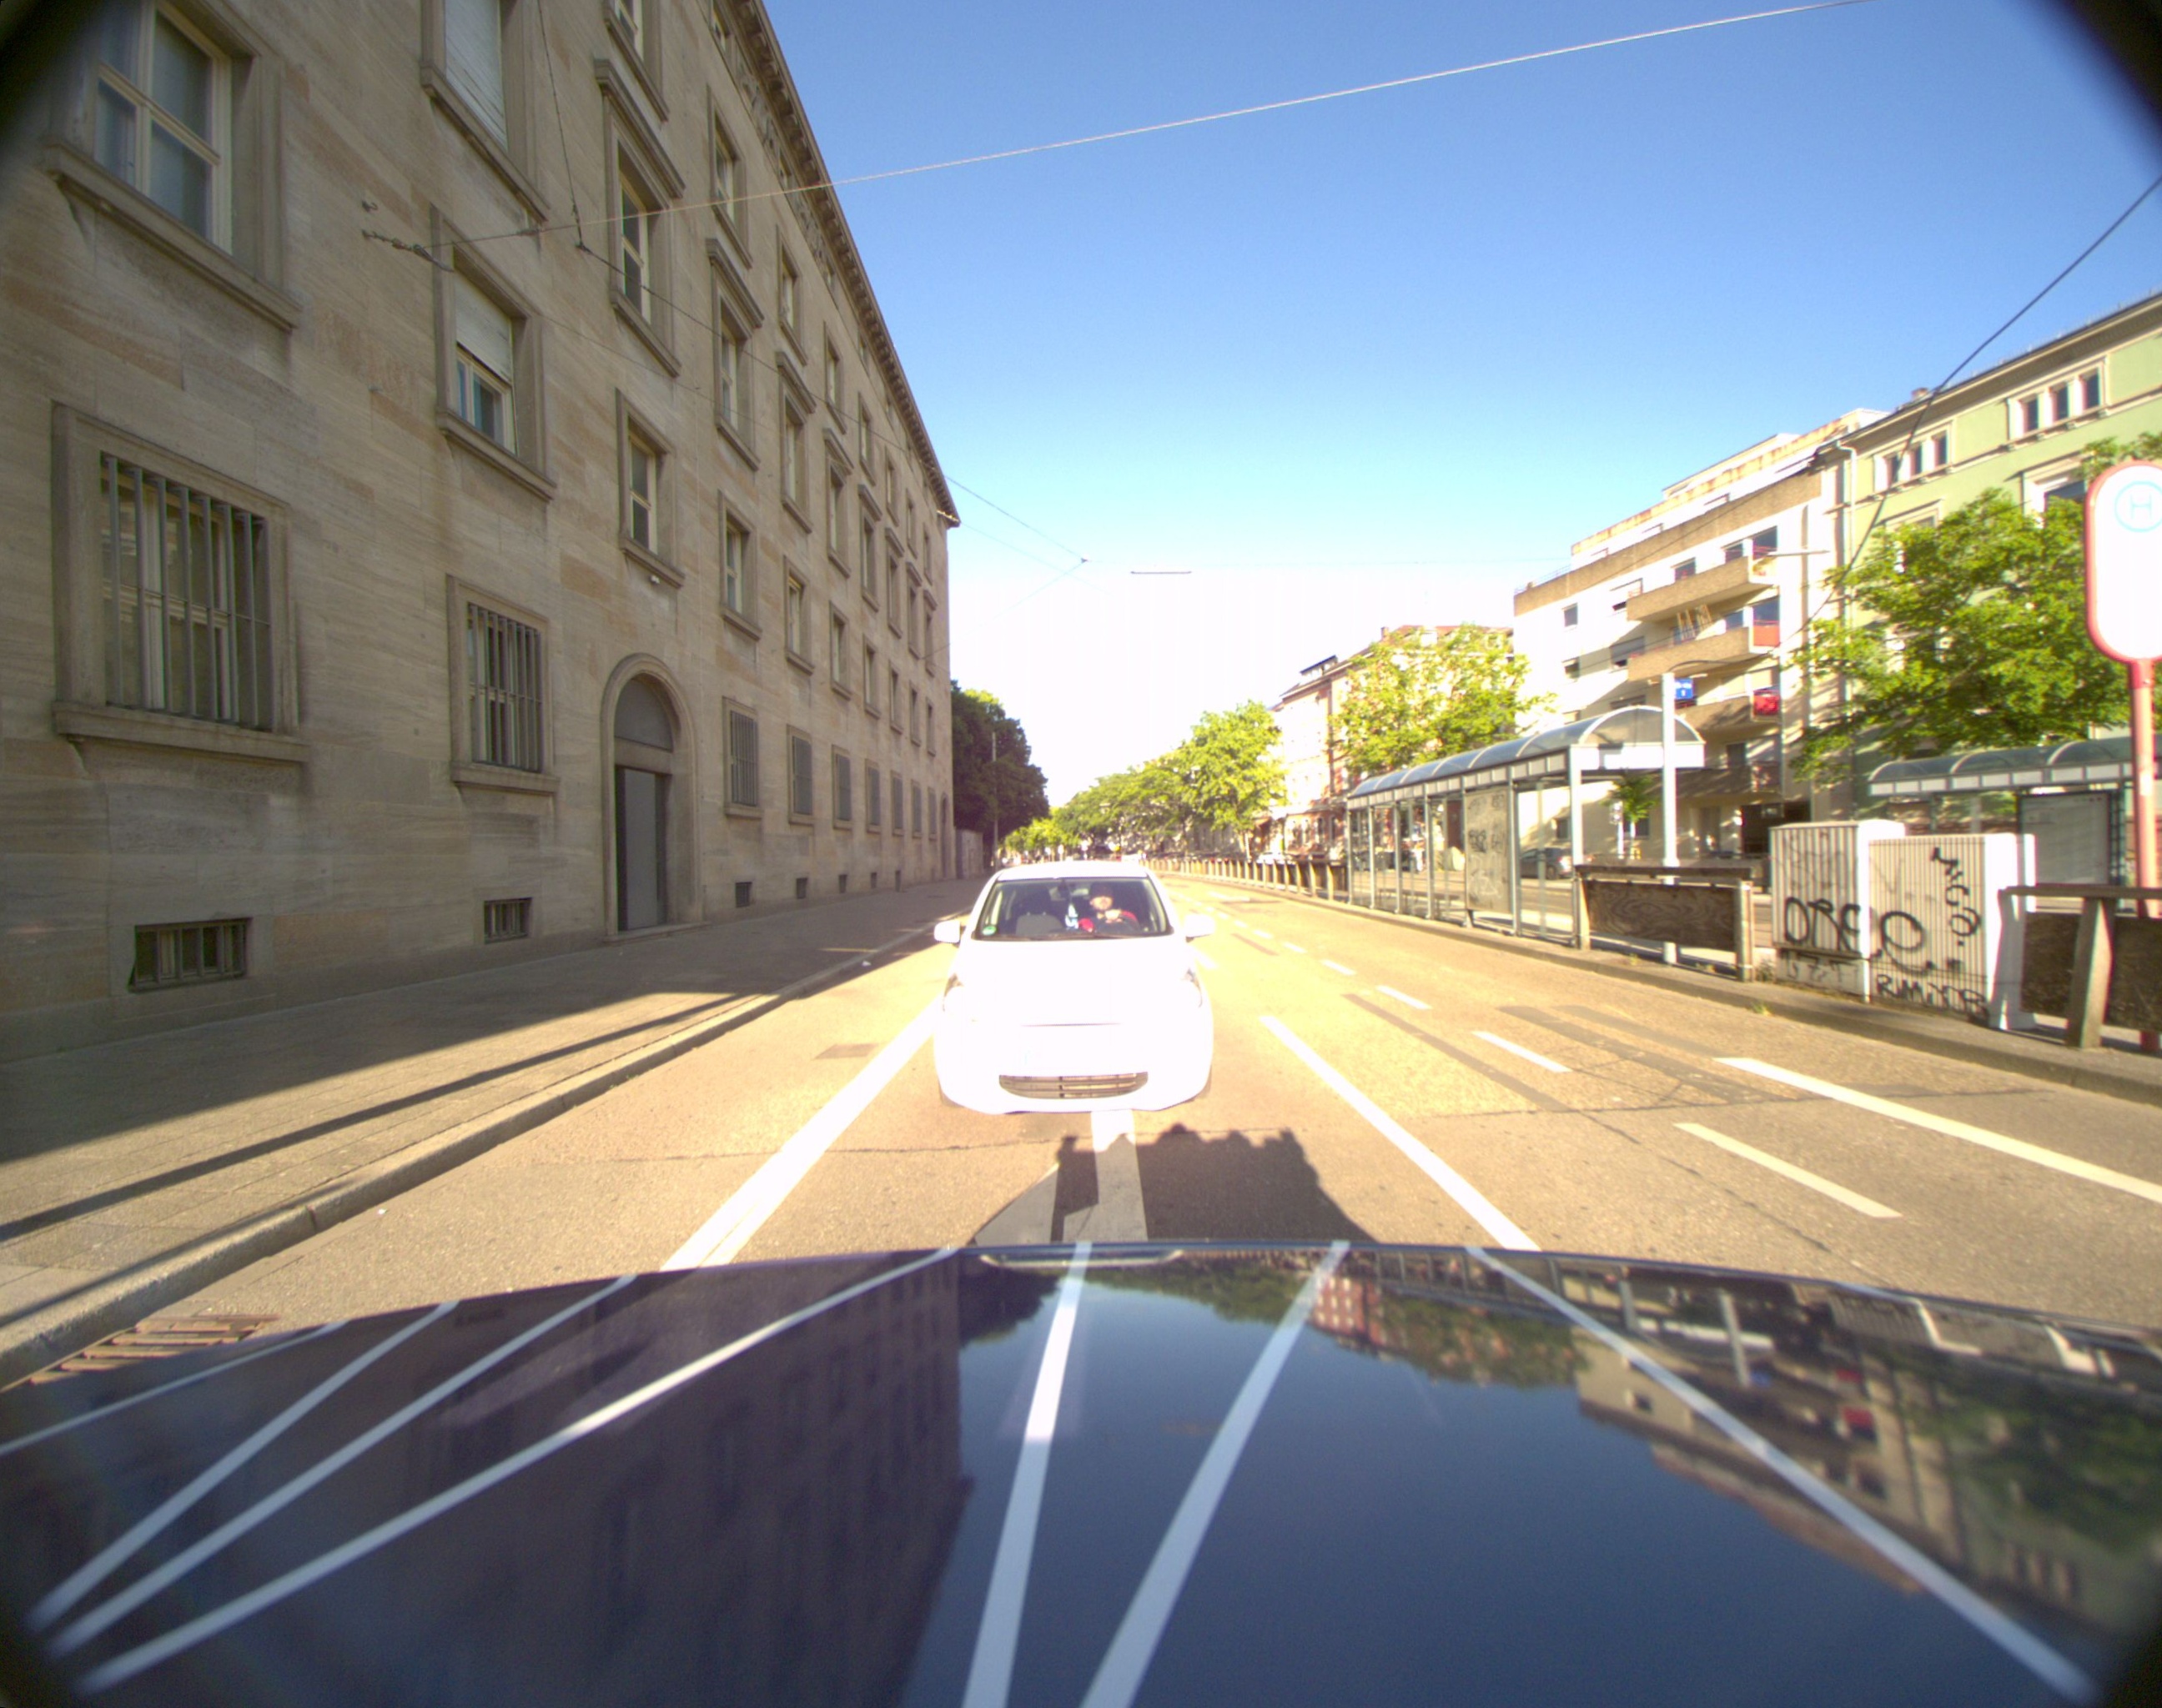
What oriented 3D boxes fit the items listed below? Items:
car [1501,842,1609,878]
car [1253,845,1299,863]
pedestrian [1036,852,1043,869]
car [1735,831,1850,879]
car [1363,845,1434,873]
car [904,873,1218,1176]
[{"bbox_3d":[21.106,0.253,34.064,2.000,1.521,3.997,1,0,-8],"label":"car"},{"bbox_3d":[16.238,0.010,63.250,3.648,1.342,1.578,-2,1,-29],"label":"car"},{"bbox_3d":[-4.128,0.645,75.265,0.686,1.673,0.928,-1,1,-3],"label":"pedestrian"},{"bbox_3d":[31.325,0.022,33.496,4.001,2.002,1.798,-1,1,-13],"label":"car"},{"bbox_3d":[18.405,0.280,44.238,2.000,1.521,3.997,-1,0,-8],"label":"car"},{"bbox_3d":[-0.079,0.942,5.790,1.606,1.455,3.621,-1,0,1],"label":"car"}]
